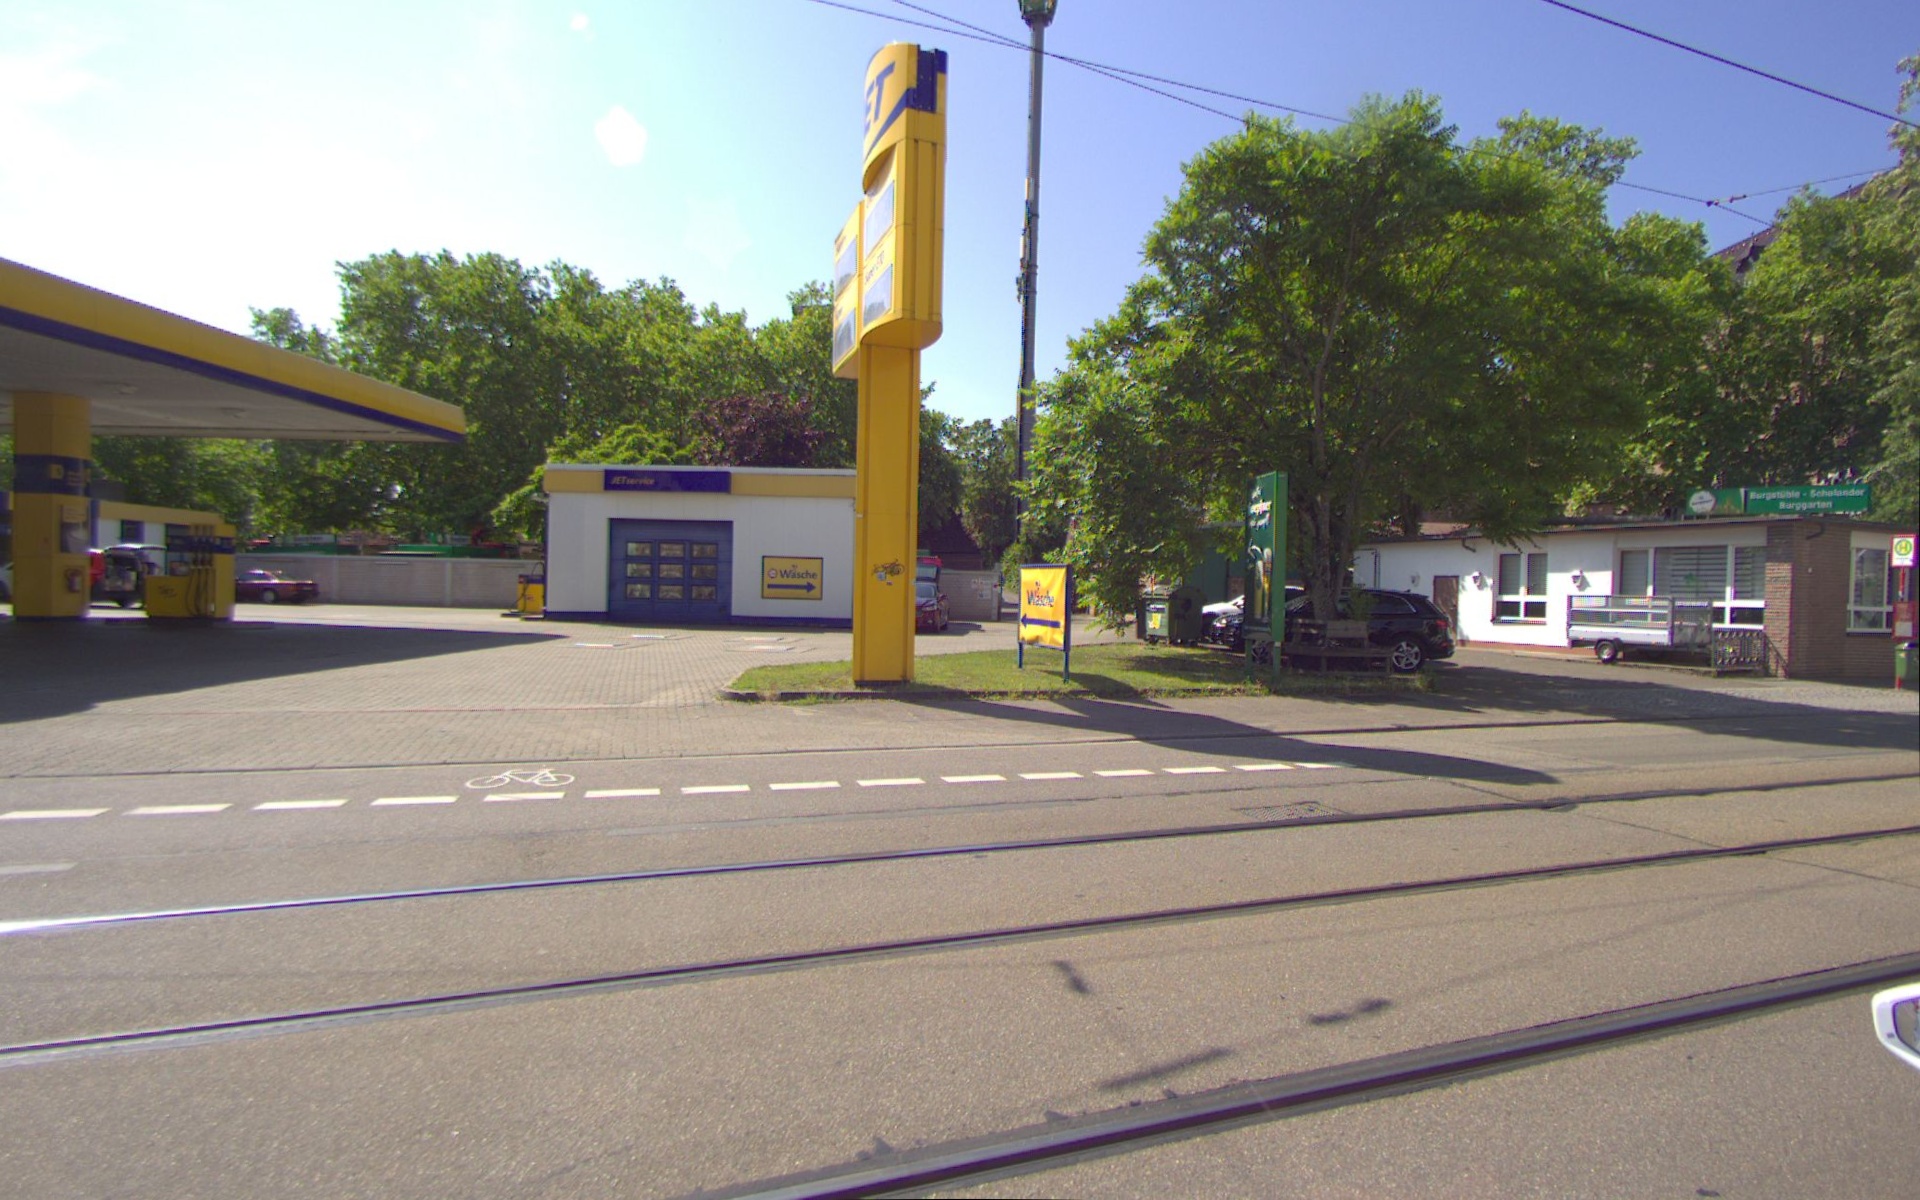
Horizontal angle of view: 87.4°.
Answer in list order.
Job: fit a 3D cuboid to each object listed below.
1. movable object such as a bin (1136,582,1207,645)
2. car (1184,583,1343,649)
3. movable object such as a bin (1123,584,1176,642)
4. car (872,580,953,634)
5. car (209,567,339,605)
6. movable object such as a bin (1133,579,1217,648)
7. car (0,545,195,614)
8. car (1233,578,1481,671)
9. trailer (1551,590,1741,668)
[{"bbox_3d":[5.340,0.320,25.475,1.353,1.522,1.421,1,1,-6],"label":"movable object such as a bin"},{"bbox_3d":[8.193,0.392,27.124,3.922,1.578,1.846,2,1,22],"label":"car"},{"bbox_3d":[5.161,0.346,27.445,1.304,1.522,1.331,1,-1,7],"label":"movable object such as a bin"},{"bbox_3d":[-1.325,0.169,29.704,1.854,1.480,4.557,0,1,4],"label":"car"},{"bbox_3d":[-27.754,-0.578,40.737,4.050,1.378,1.761,2,1,0],"label":"car"},{"bbox_3d":[5.021,0.303,23.569,1.358,1.522,1.416,1,1,-19],"label":"movable object such as a bin"},{"bbox_3d":[-27.873,-0.649,32.233,5.203,2.009,1.761,2,1,-2],"label":"car"},{"bbox_3d":[8.229,0.452,21.106,4.569,1.663,2.019,2,1,22],"label":"car"},{"bbox_3d":[15.912,0.640,23.469,1.697,1.625,3.269,2,1,-20],"label":"trailer"}]
